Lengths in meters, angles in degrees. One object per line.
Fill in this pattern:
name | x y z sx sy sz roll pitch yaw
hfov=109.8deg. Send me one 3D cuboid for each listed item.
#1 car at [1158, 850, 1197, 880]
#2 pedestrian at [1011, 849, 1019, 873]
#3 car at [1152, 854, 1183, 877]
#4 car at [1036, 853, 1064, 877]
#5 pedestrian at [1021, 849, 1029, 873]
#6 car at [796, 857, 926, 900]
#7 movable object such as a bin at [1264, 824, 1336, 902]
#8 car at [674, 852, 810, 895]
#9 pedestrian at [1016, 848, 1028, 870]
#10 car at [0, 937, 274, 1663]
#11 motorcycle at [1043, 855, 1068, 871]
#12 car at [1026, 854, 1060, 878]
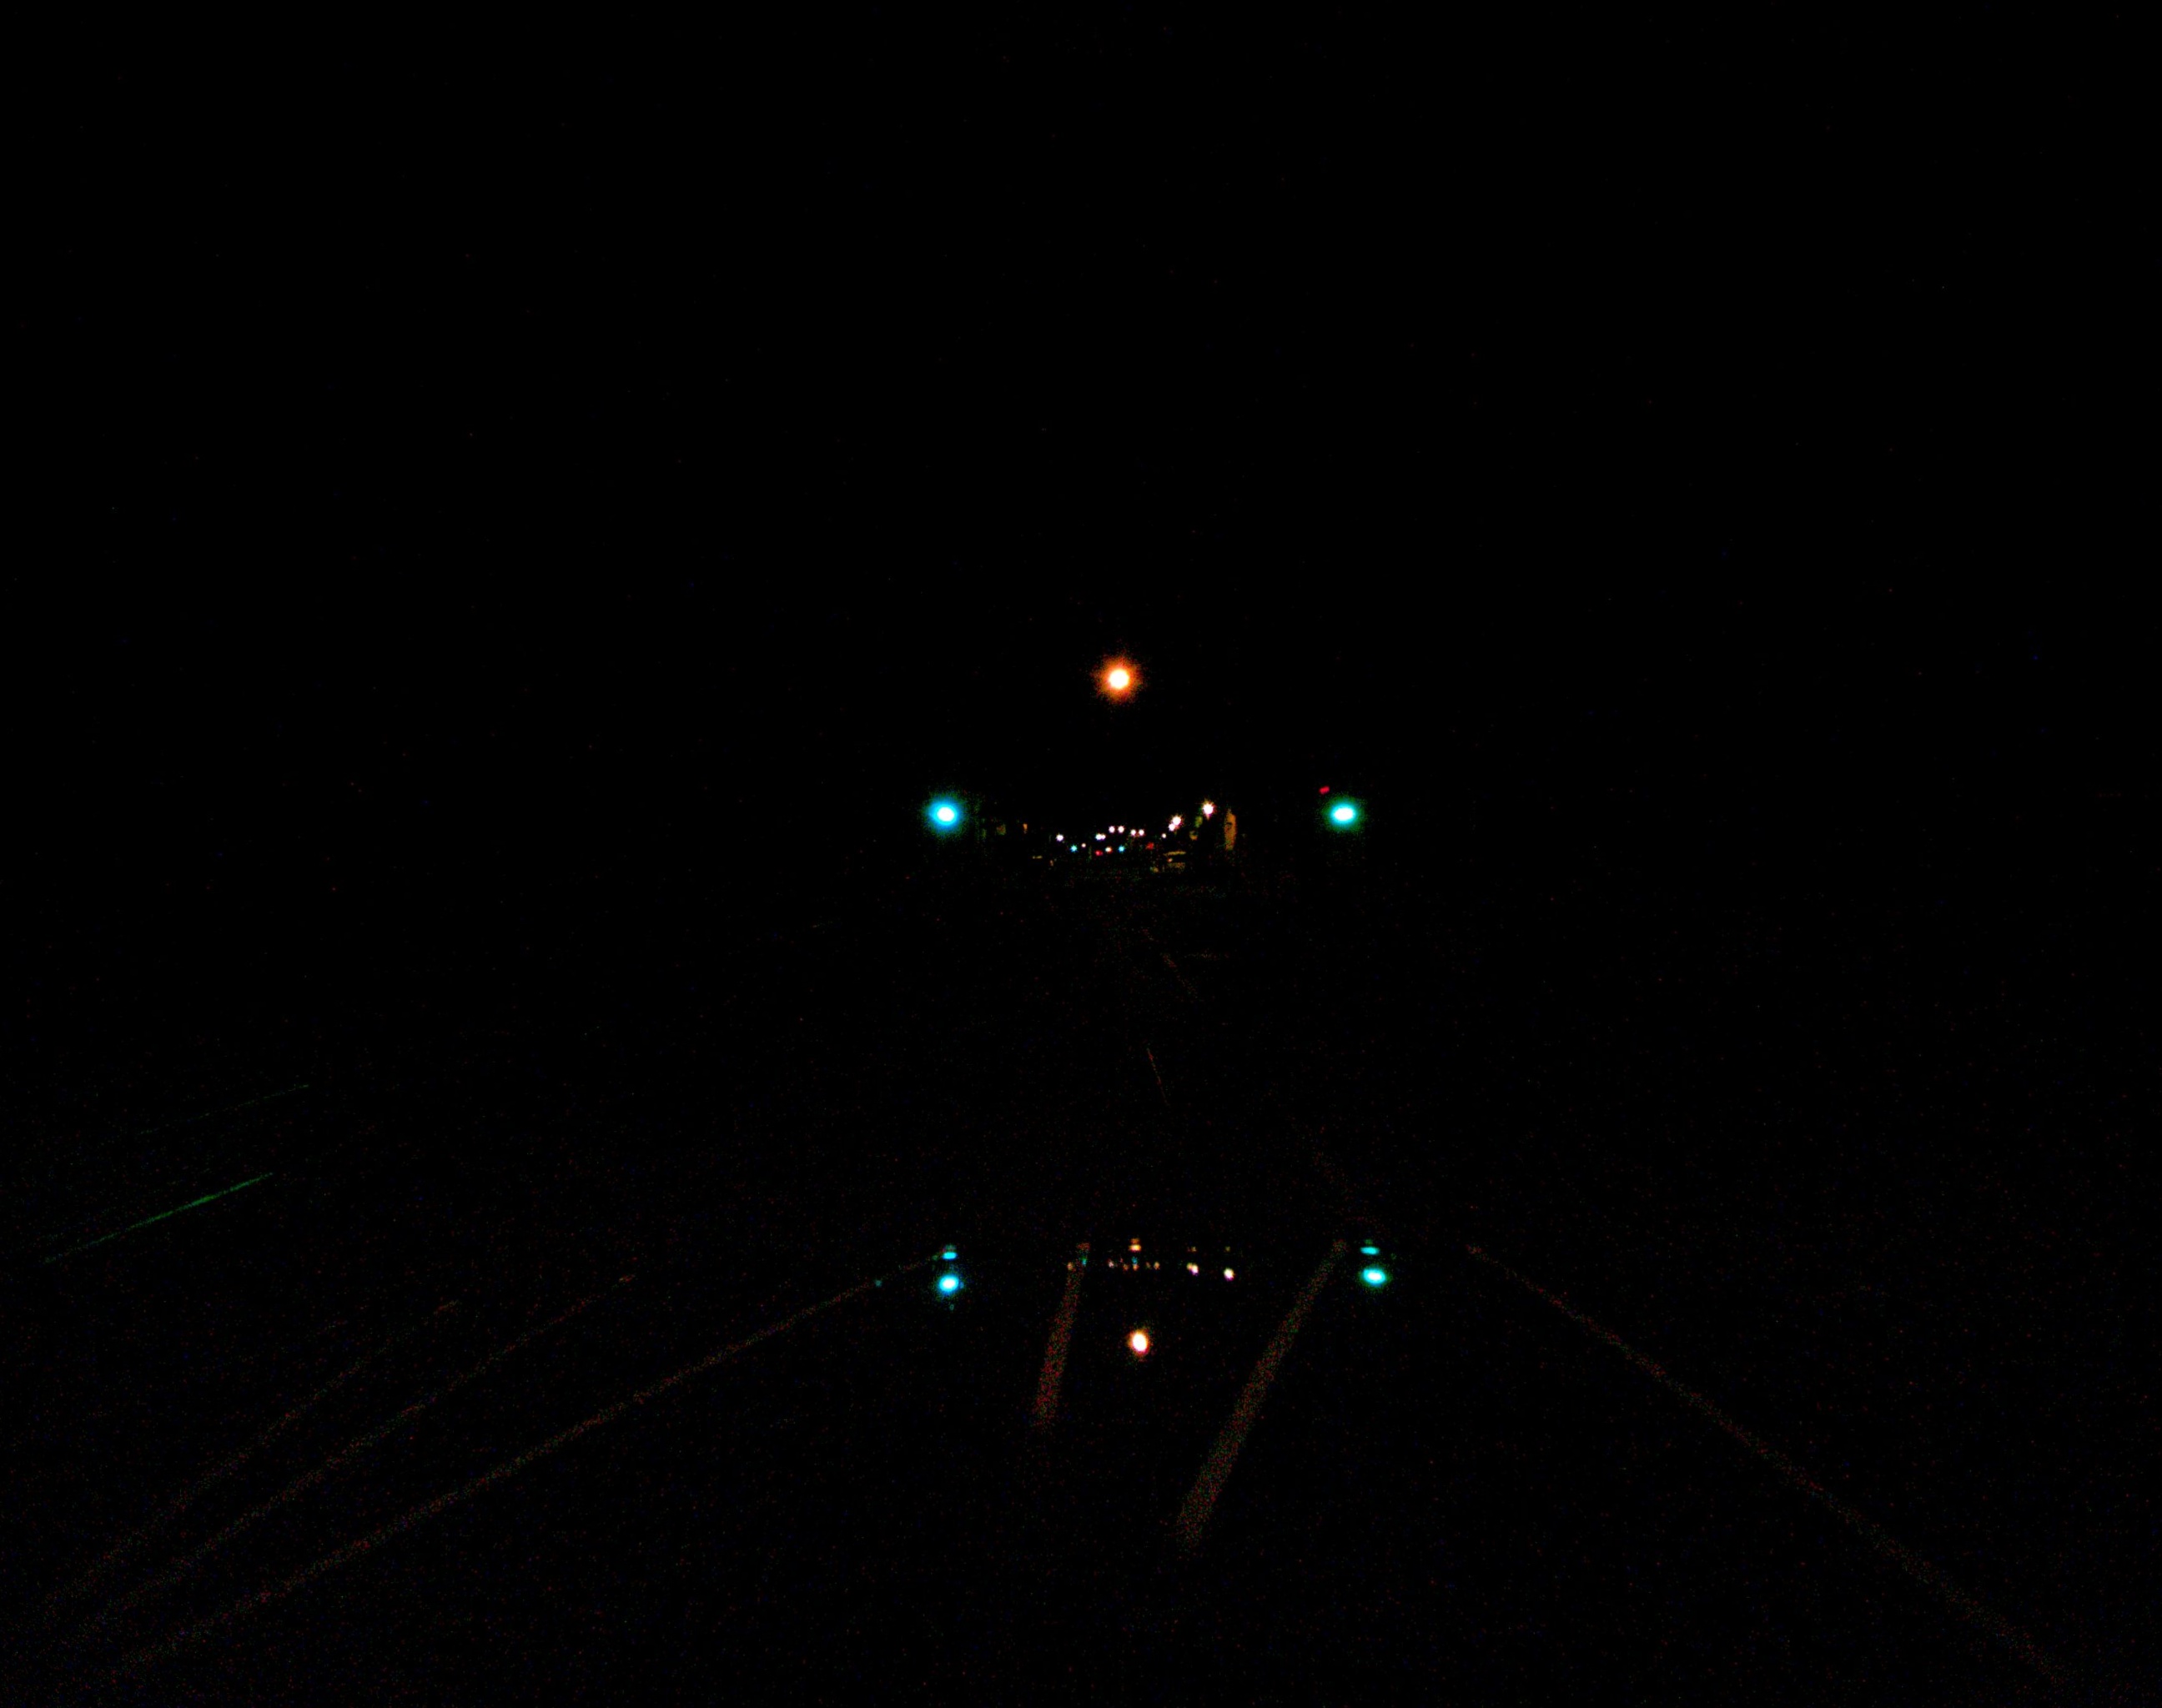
car | 6.079 0.658 48.558 1.888 1.832 4.814 0 0 0
pedestrian | -4.837 0.510 55.653 0.478 1.699 0.571 0 1 2
car | 6.082 0.789 53.857 1.843 1.441 4.881 -1 1 2
car | -2.166 0.747 53.740 1.737 1.492 4.467 2 0 0
pedestrian | -4.122 0.514 55.634 0.508 1.699 0.705 0 1 2
car | -7.691 0.839 26.861 4.024 1.414 1.851 0 2 -1
movable object such as a bin | 7.860 0.287 27.640 1.575 2.611 3.910 1 1 2
car | -12.398 0.693 27.992 4.203 1.459 1.851 1 1 -2
pedestrian | -4.490 0.396 57.893 0.809 1.622 0.966 -1 1 2
car | -3.191 0.967 0.139 1.744 1.469 4.000 2 0 1
motorcycle | -2.083 0.719 61.872 1.948 1.345 0.761 0 1 -34
car | -2.382 0.750 48.568 1.740 1.446 4.000 0 1 3
